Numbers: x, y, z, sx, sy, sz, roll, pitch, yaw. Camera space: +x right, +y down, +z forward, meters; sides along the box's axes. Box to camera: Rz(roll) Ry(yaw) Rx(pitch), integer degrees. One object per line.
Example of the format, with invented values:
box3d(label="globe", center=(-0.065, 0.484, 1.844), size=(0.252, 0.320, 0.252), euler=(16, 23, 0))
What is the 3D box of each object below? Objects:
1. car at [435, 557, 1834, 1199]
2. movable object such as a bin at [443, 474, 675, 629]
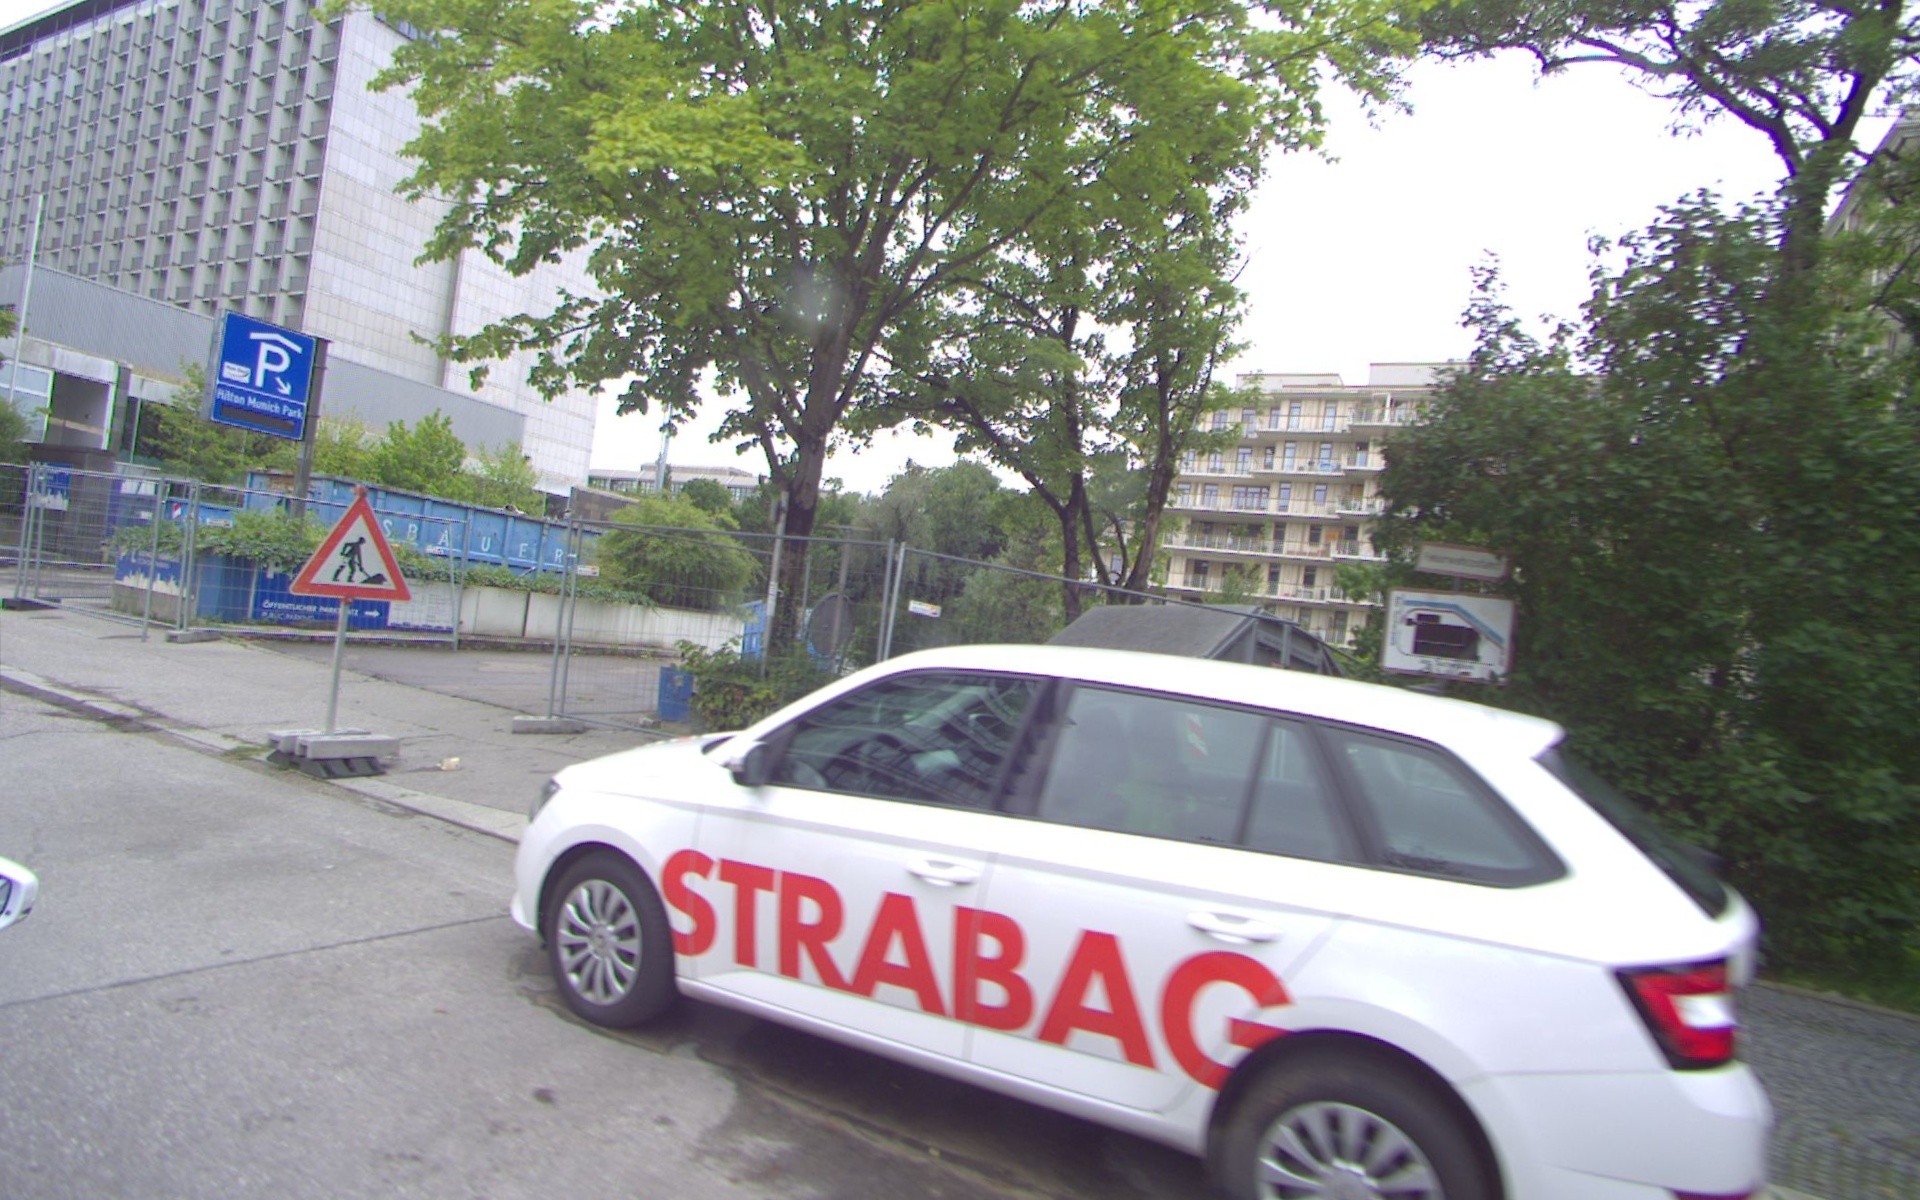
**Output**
box3d(label="car", center=(0.218, 0.832, 3.585), size=(3.989, 1.509, 1.536), euler=(6, -1, 26))
box3d(label="movable object such as a bin", center=(-11.891, -1.250, 30.843), size=(3.820, 3.727, 7.178), euler=(7, -1, 0))
